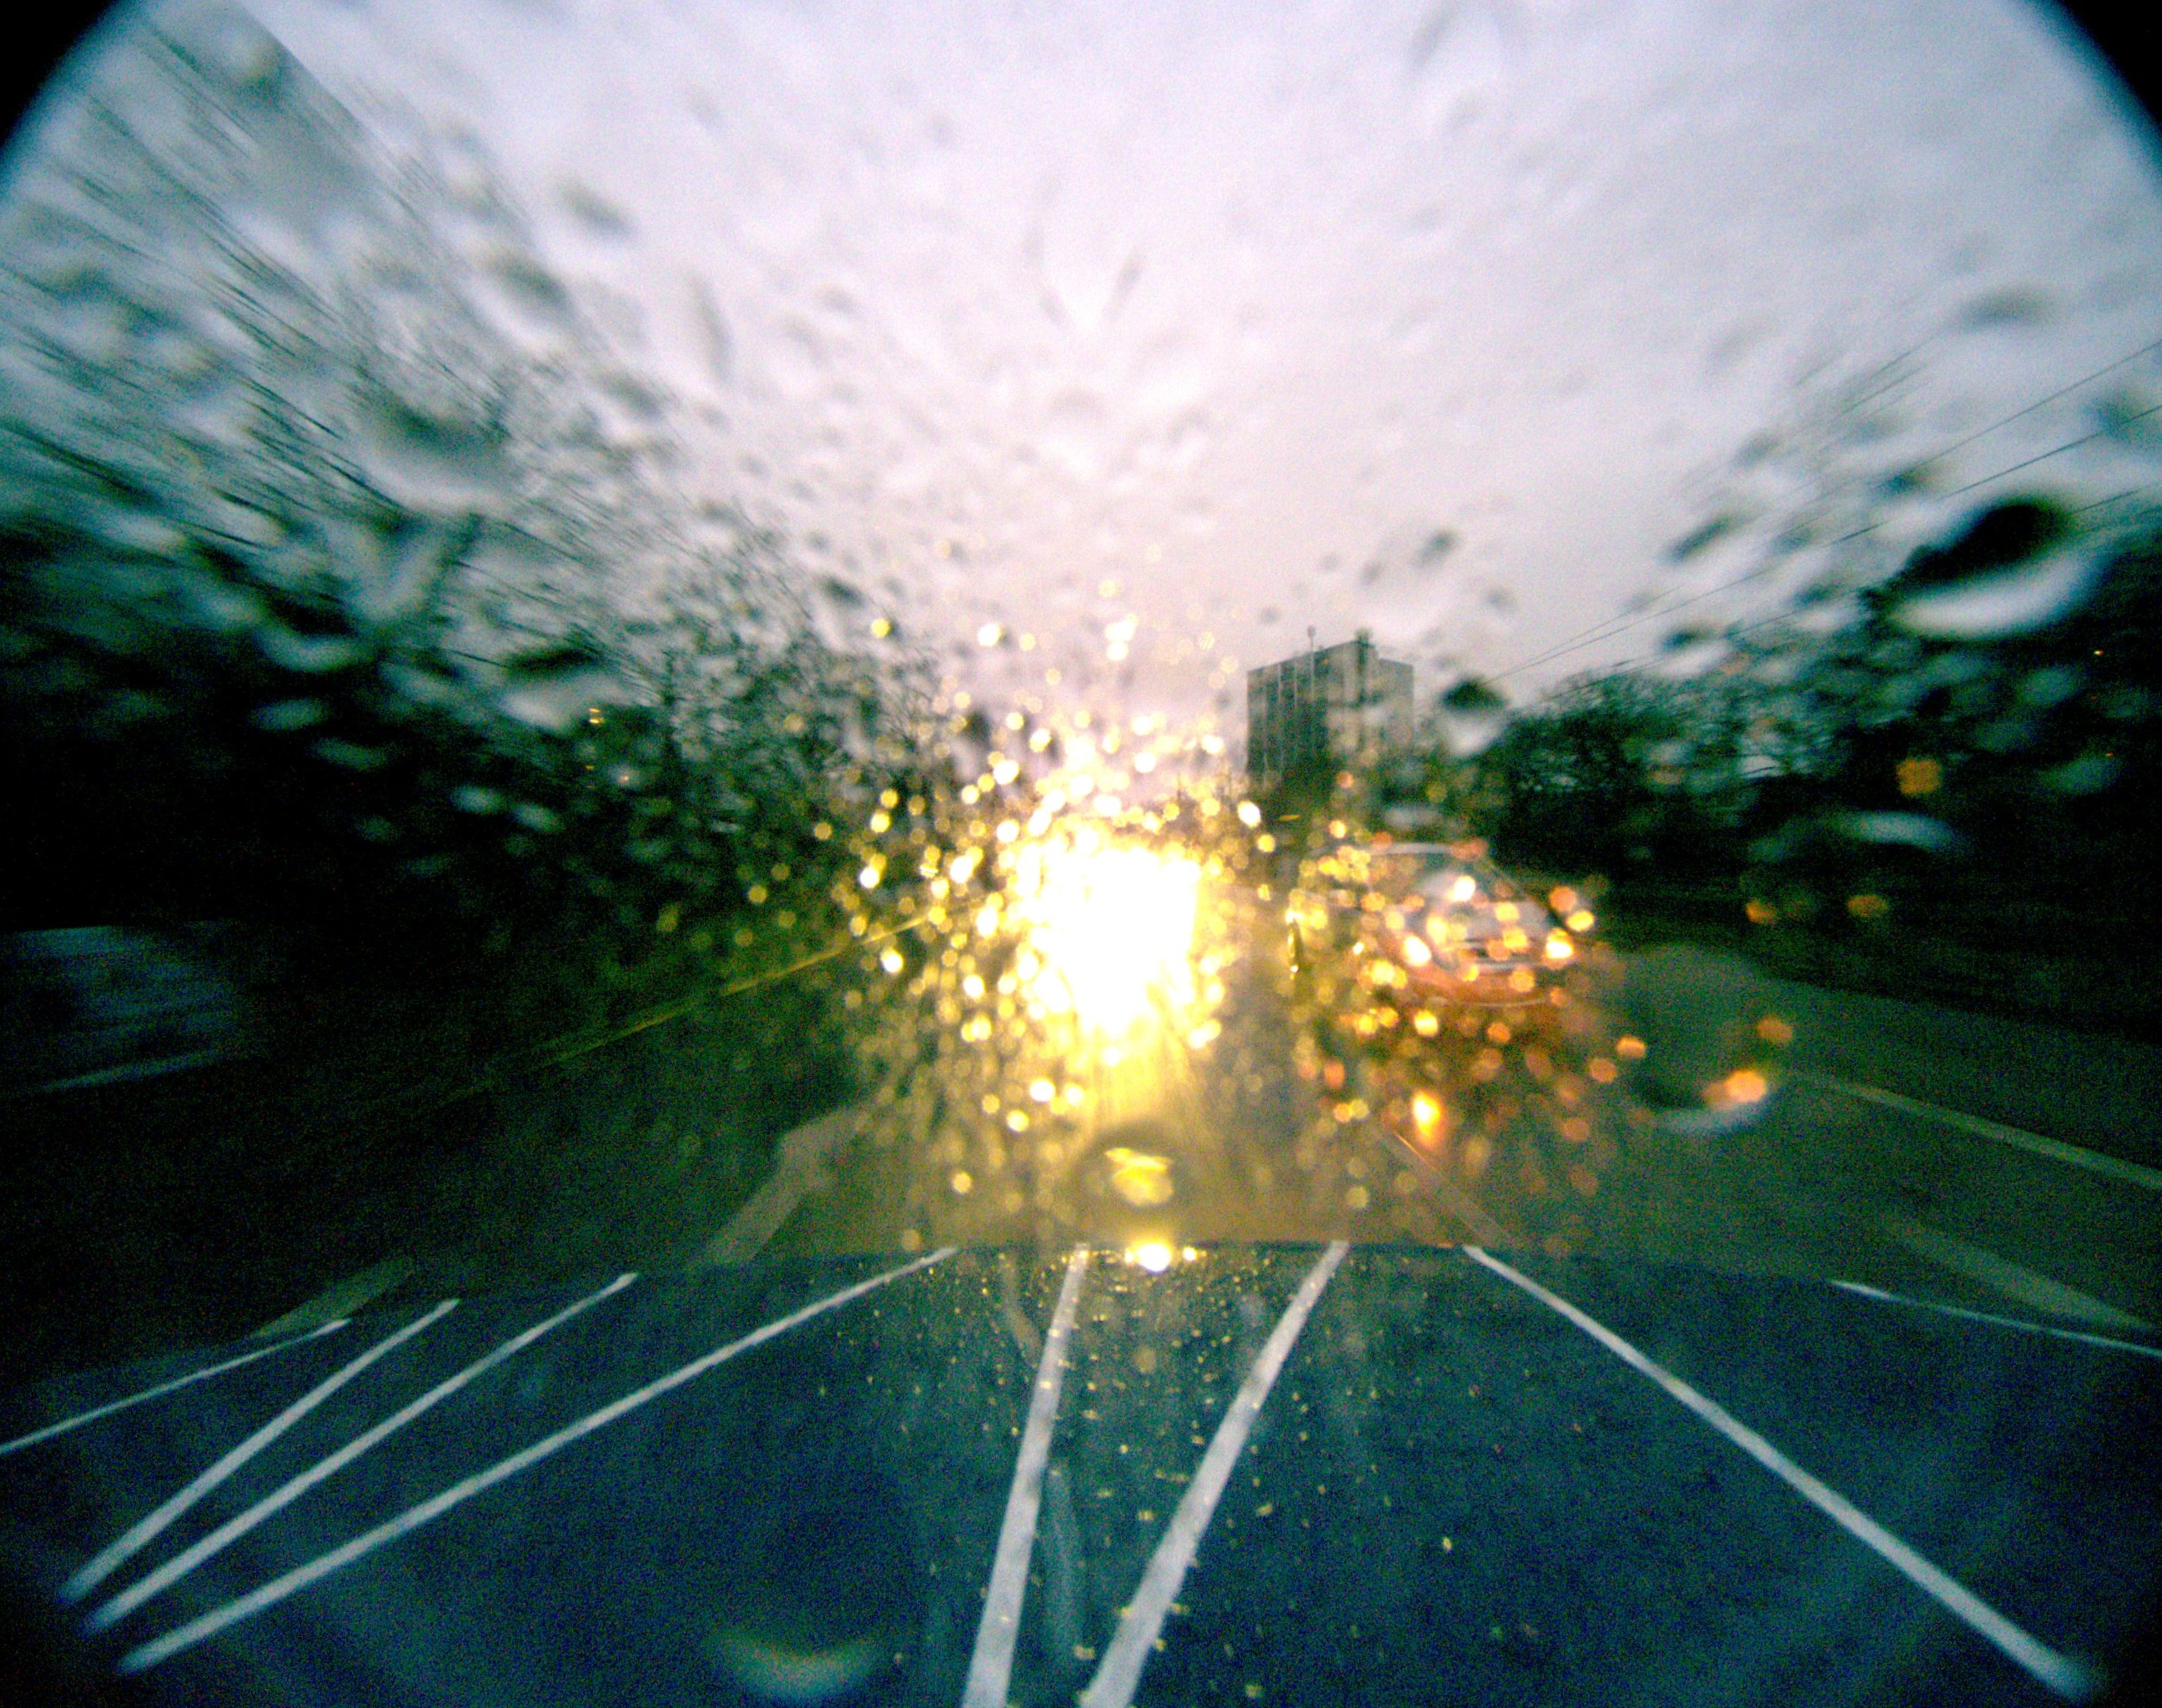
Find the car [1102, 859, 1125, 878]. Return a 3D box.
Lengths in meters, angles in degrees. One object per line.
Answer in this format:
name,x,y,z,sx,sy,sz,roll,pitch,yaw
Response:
car,3.069,1.379,72.347,1.998,1.652,3.999,-2,1,0

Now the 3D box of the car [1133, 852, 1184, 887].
car,3.671,0.703,36.659,1.953,1.590,4.124,-1,0,-1

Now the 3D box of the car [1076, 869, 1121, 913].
car,0.684,1.450,31.079,1.679,1.590,4.045,-1,0,1

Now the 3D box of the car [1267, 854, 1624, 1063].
car,3.280,0.796,7.866,1.694,1.530,4.190,-2,0,1

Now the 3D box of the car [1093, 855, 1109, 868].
car,2.617,1.033,101.717,1.998,1.605,3.999,-2,1,0

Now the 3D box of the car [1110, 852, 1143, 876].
car,3.148,0.640,53.079,1.953,1.590,4.124,-1,0,-1

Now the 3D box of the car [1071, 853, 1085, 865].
car,-0.451,0.721,109.418,1.953,1.590,4.123,-1,0,-2
